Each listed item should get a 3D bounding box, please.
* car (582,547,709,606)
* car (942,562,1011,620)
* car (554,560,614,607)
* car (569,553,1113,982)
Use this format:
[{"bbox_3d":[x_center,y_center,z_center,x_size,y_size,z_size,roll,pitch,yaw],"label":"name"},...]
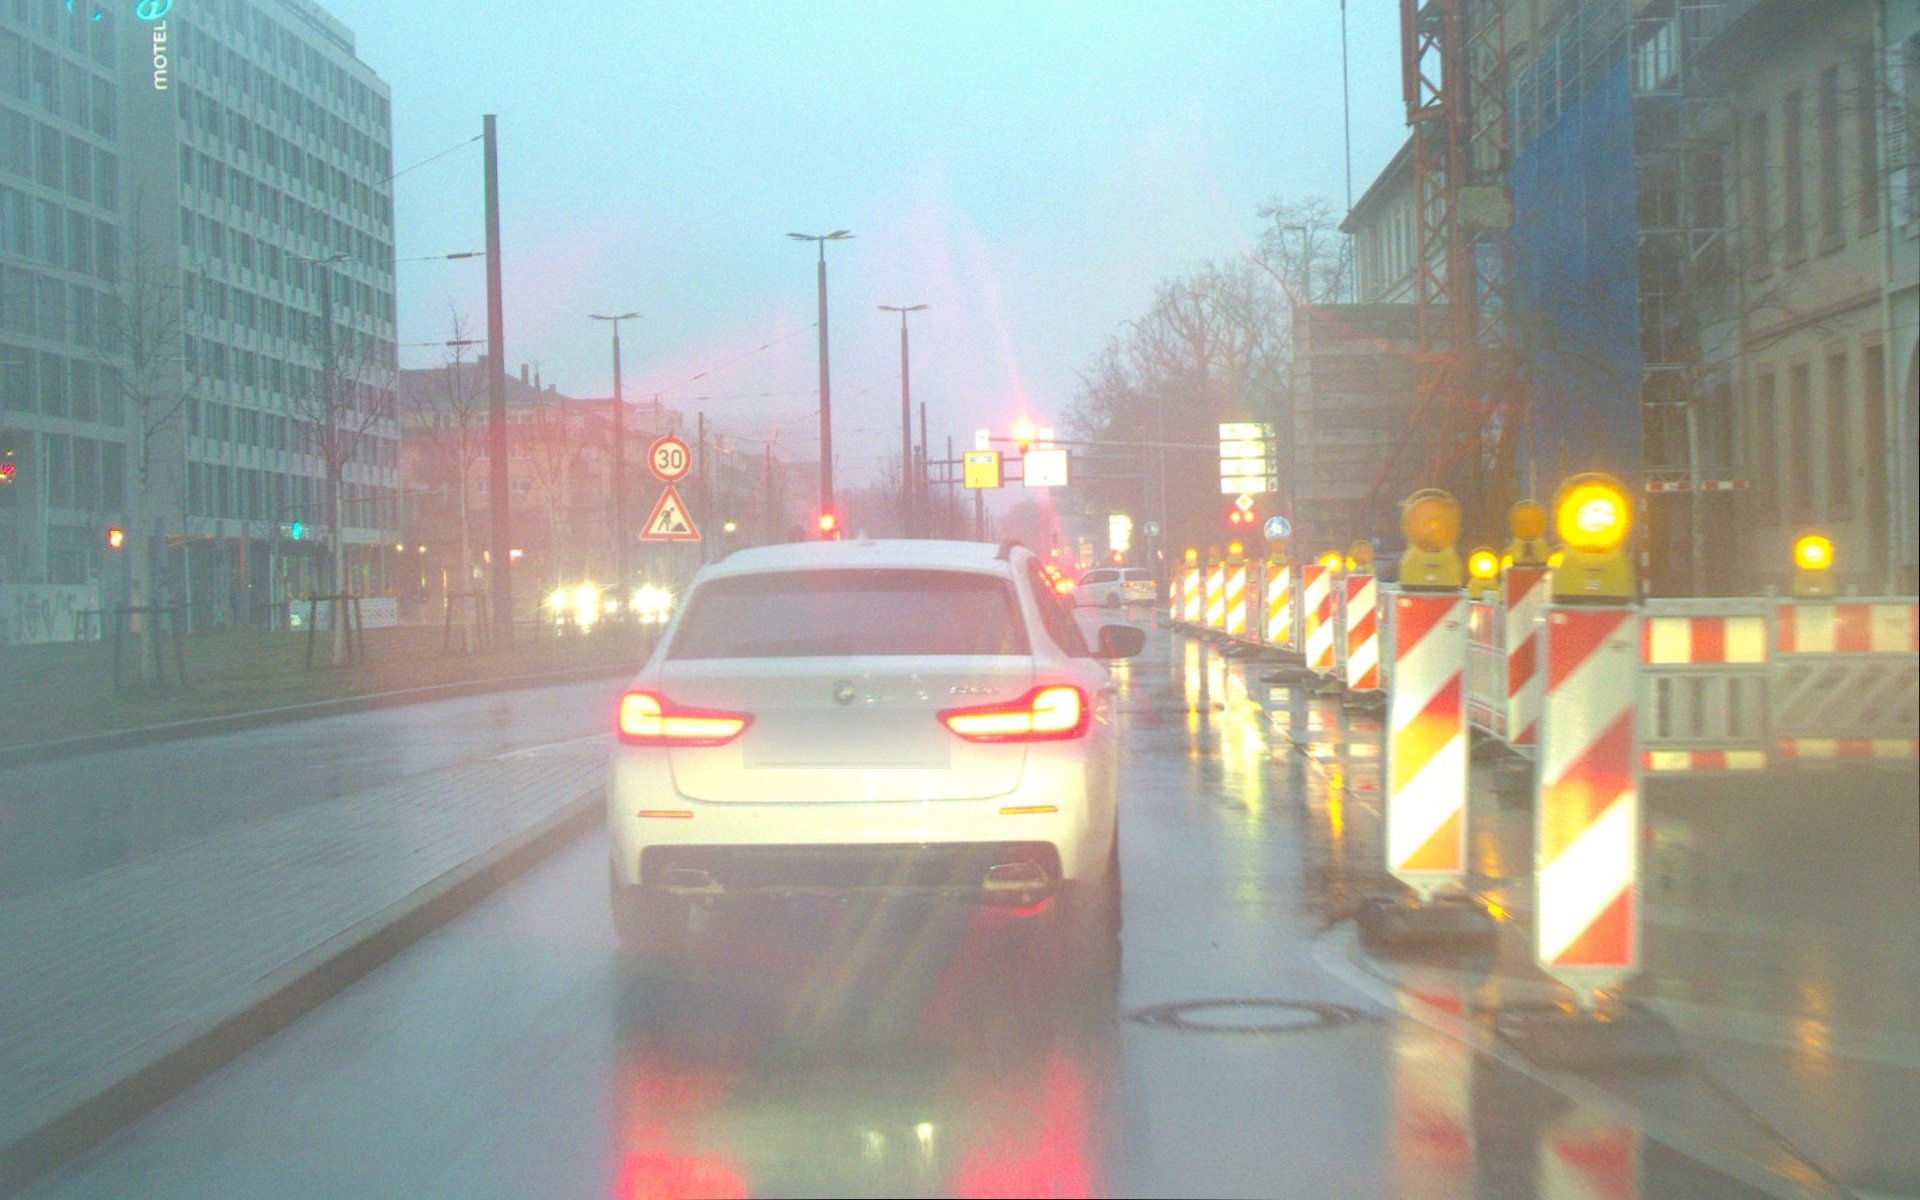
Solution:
[{"bbox_3d":[-10.663,-0.797,116.490,3.986,1.968,2.001,0,0,-17],"label":"car"},{"bbox_3d":[0.491,-0.269,98.981,1.901,1.636,4.000,0,0,2],"label":"car"},{"bbox_3d":[-16.425,-0.721,150.359,1.993,2.007,4.537,-1,0,2],"label":"car"},{"bbox_3d":[-0.367,0.552,14.217,1.852,1.460,4.947,0,0,1],"label":"car"}]
